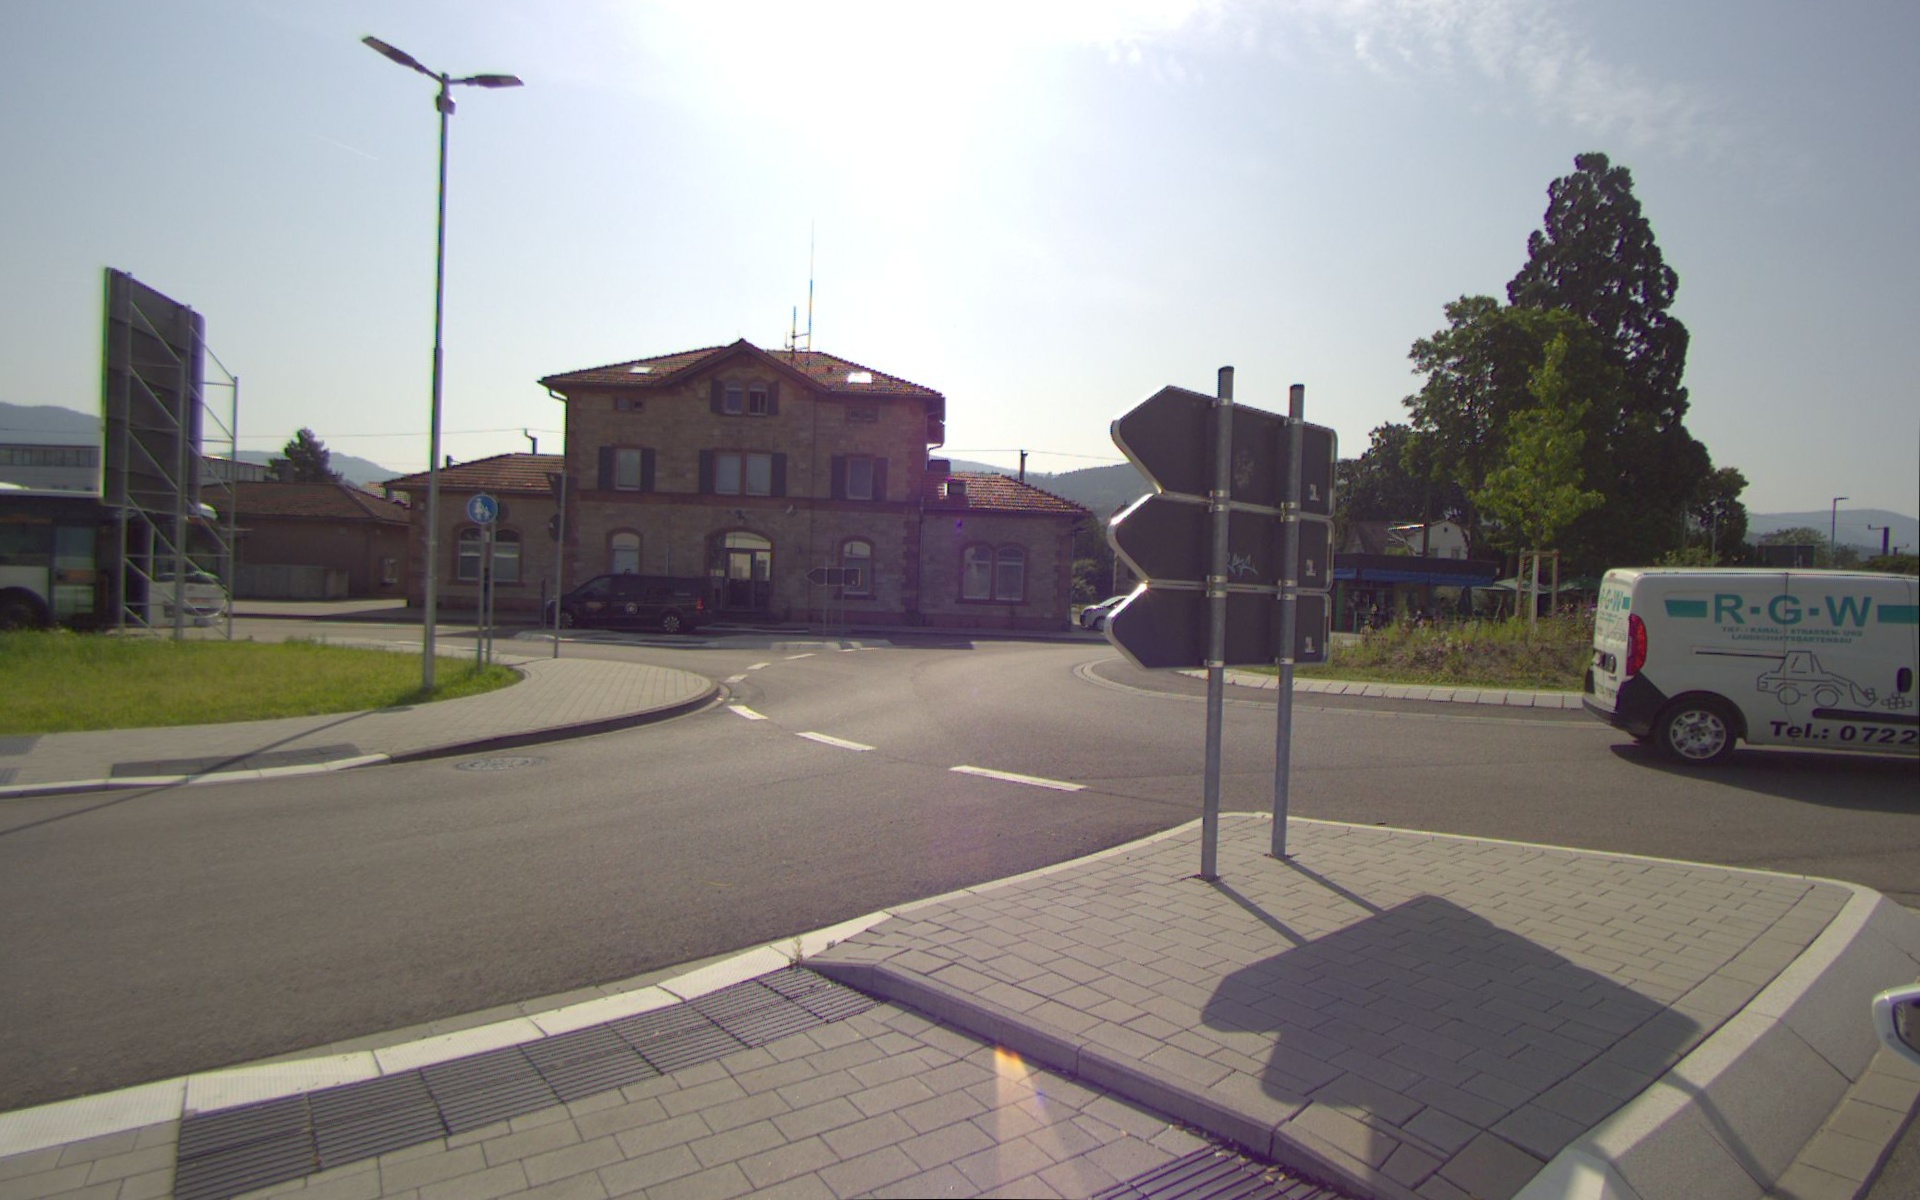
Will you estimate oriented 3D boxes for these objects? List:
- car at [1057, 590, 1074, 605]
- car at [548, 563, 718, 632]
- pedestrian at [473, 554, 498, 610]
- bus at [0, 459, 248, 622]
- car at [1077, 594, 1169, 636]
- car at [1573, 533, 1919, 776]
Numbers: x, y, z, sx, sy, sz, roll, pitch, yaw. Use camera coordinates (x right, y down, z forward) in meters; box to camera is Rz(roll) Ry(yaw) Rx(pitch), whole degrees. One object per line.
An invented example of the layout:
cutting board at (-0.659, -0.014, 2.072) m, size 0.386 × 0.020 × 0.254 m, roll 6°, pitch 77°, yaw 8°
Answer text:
car at (10.336, -0.285, 98.313) m, size 1.365 × 1.382 × 3.538 m, roll 2°, pitch 0°, yaw 2°
car at (-10.400, -0.057, 32.195) m, size 4.788 × 1.971 × 1.845 m, roll 2°, pitch 0°, yaw -3°
pedestrian at (-17.691, -0.662, 37.420) m, size 0.566 × 2.040 × 0.530 m, roll 2°, pitch 0°, yaw 13°
bus at (-22.021, -1.297, 20.793) m, size 11.518 × 3.165 × 3.067 m, roll 1°, pitch 1°, yaw -13°
car at (6.728, 0.623, 41.589) m, size 3.472 × 1.469 × 1.391 m, roll 4°, pitch 0°, yaw -7°
car at (8.588, 0.439, 9.536) m, size 4.517 × 2.106 × 1.810 m, roll 0°, pitch 2°, yaw 25°
